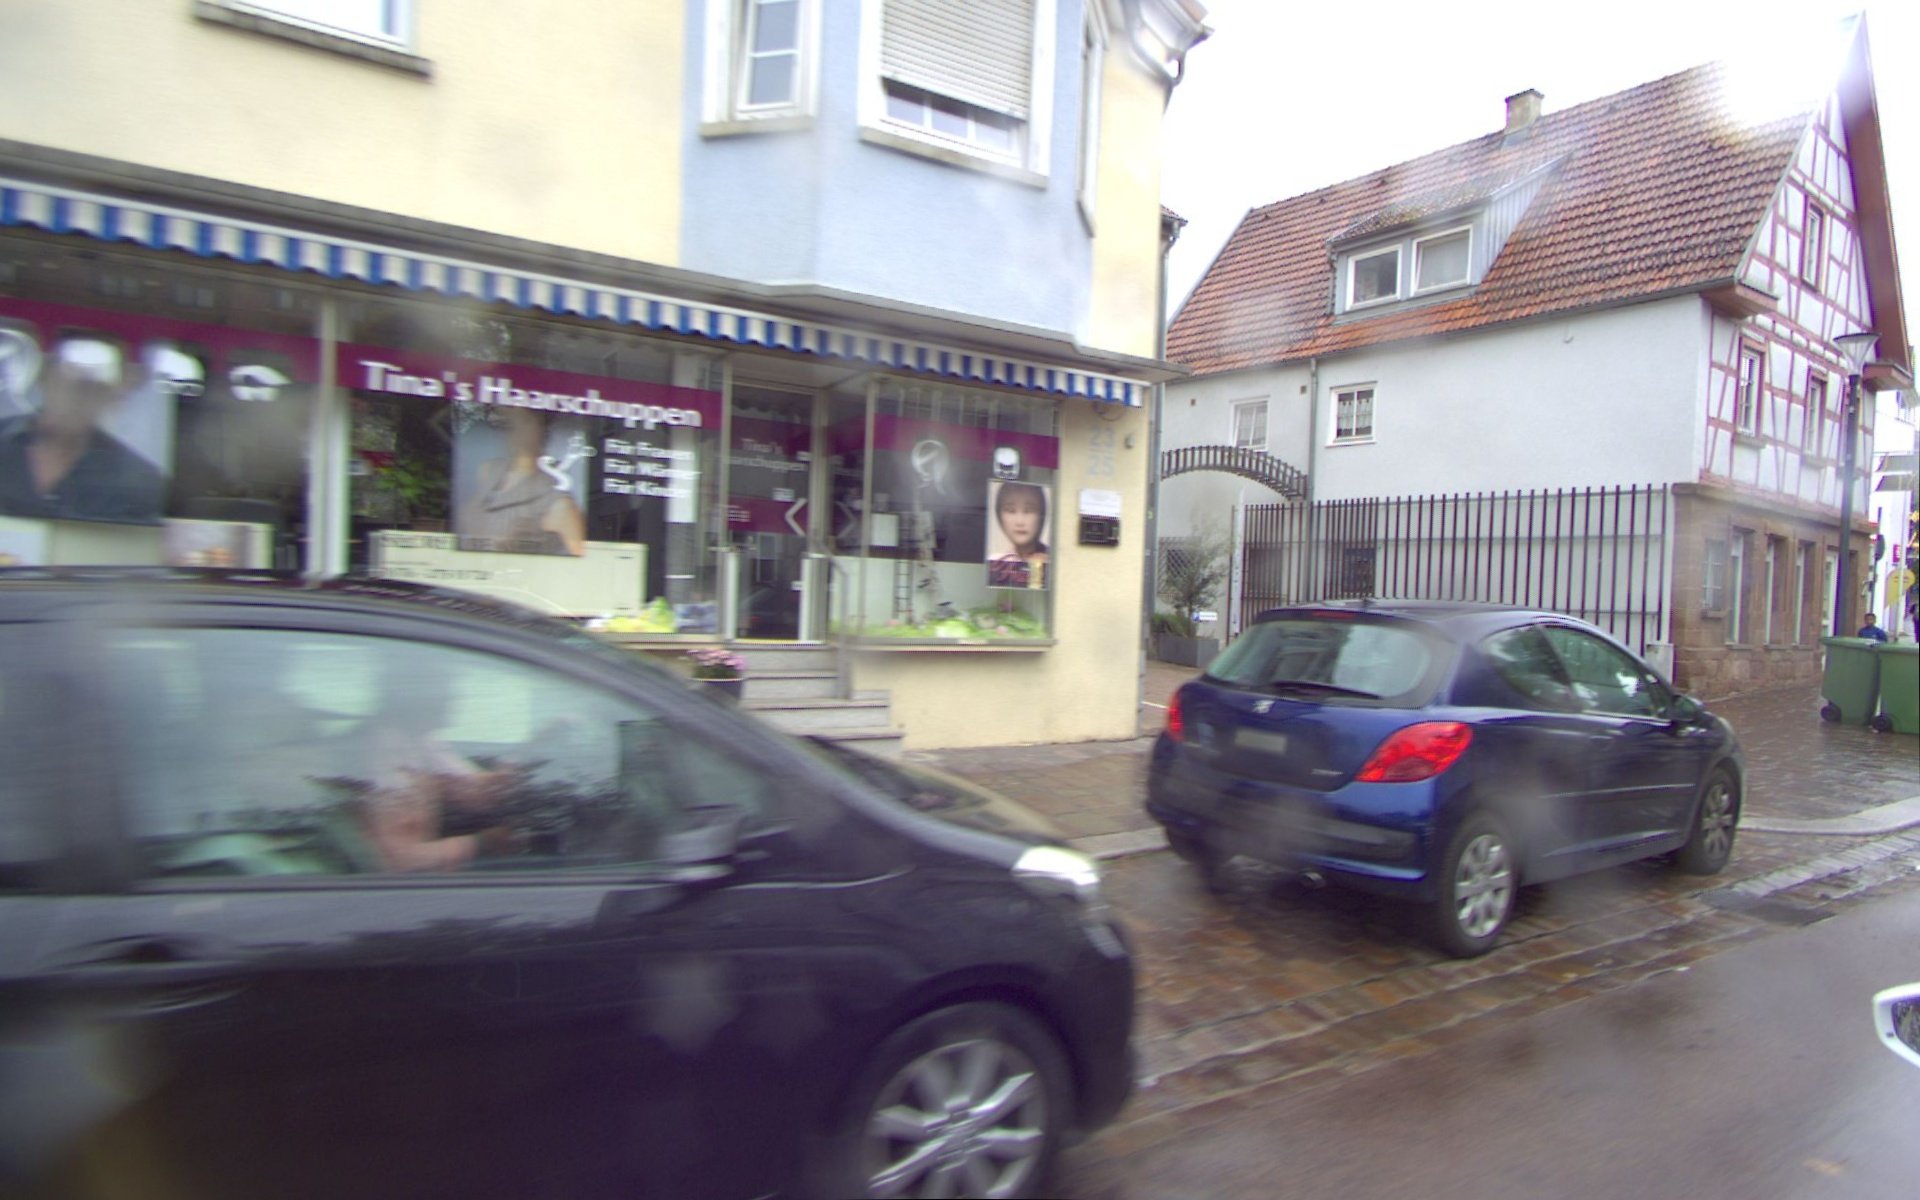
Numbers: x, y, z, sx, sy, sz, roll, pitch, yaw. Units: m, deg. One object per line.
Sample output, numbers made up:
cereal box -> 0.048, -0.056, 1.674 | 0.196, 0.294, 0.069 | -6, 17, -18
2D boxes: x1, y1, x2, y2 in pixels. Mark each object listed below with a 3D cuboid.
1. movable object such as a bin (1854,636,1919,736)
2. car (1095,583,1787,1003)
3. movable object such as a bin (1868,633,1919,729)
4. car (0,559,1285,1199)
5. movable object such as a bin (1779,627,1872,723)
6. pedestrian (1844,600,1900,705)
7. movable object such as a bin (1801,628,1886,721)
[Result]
movable object such as a bin -> 11.371, 1.032, 12.115 | 0.591, 1.125, 0.720 | 2, 1, -36
car -> 2.790, 0.704, 5.541 | 3.905, 1.494, 1.744 | 0, 3, -36
movable object such as a bin -> 11.878, 1.009, 12.485 | 0.591, 1.125, 0.720 | 2, 1, -36
car -> -1.277, 0.667, 2.388 | 3.835, 1.463, 1.685 | 0, 2, -28
movable object such as a bin -> 10.971, 0.941, 12.743 | 0.591, 1.125, 0.720 | 2, 1, -36
pedestrian -> 15.601, 0.891, 17.185 | 0.573, 1.734, 0.515 | 2, 1, -36
movable object such as a bin -> 11.498, 0.953, 13.077 | 0.610, 1.125, 0.655 | 2, 1, -36
